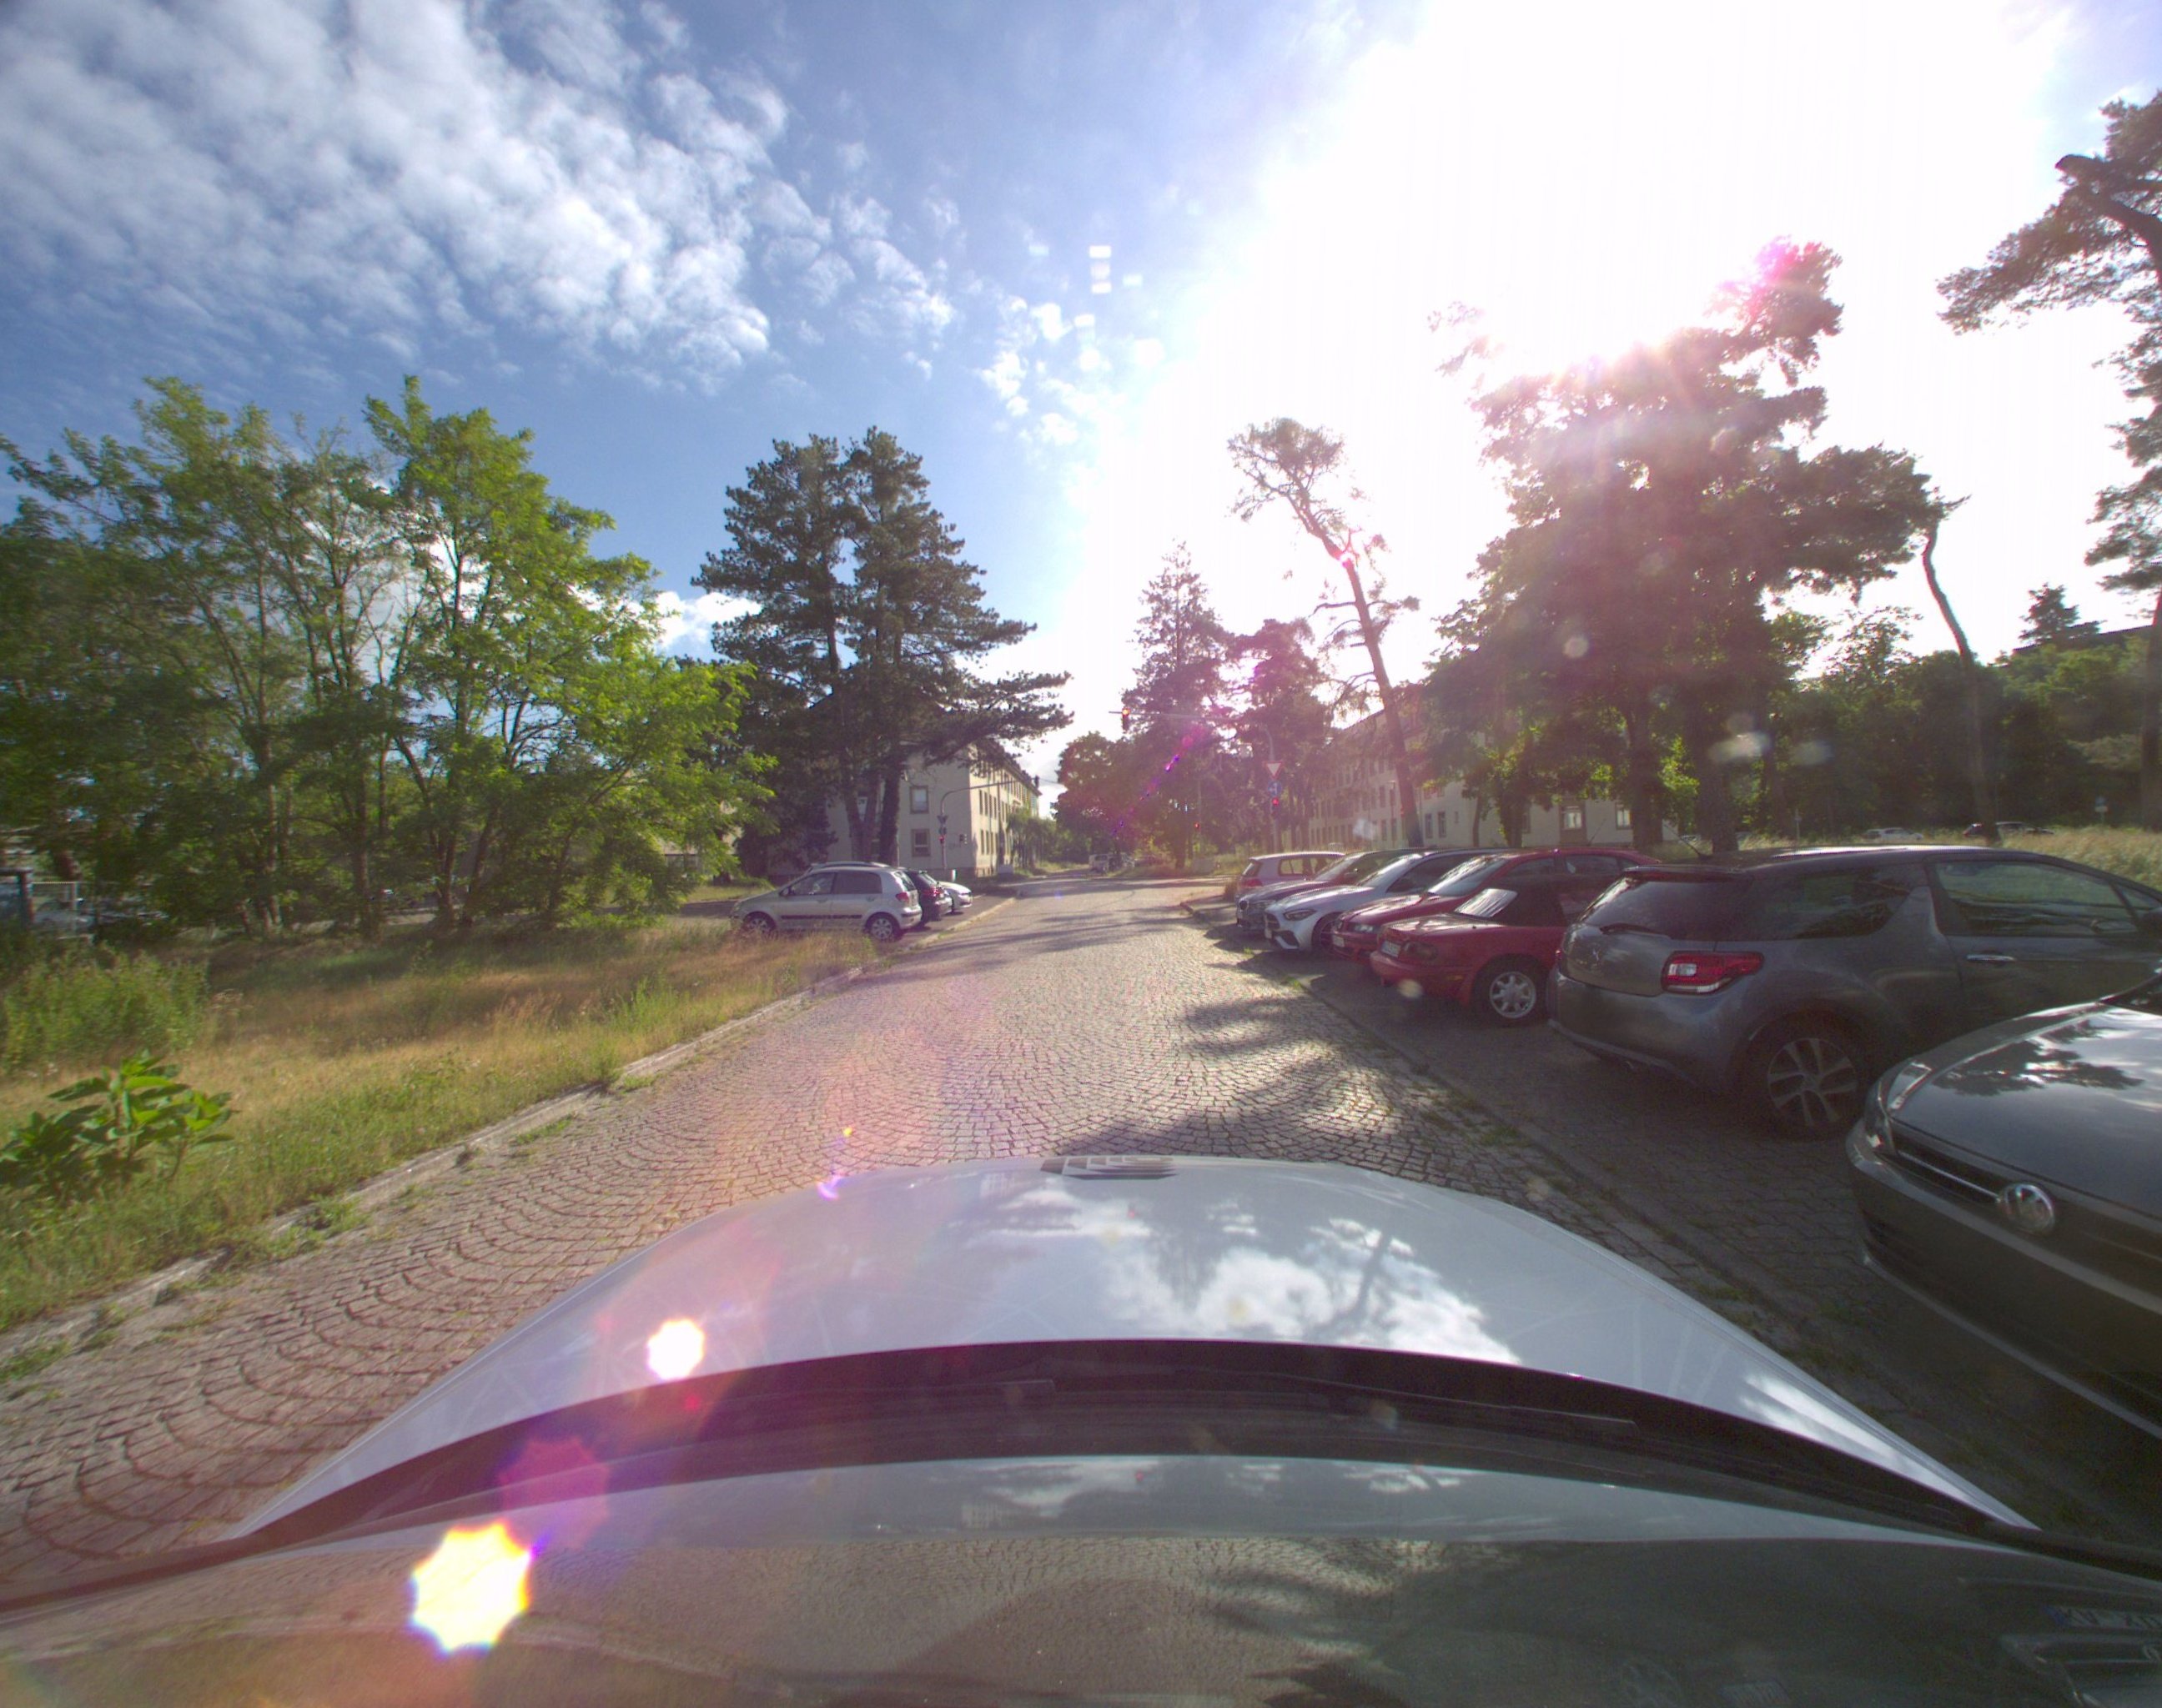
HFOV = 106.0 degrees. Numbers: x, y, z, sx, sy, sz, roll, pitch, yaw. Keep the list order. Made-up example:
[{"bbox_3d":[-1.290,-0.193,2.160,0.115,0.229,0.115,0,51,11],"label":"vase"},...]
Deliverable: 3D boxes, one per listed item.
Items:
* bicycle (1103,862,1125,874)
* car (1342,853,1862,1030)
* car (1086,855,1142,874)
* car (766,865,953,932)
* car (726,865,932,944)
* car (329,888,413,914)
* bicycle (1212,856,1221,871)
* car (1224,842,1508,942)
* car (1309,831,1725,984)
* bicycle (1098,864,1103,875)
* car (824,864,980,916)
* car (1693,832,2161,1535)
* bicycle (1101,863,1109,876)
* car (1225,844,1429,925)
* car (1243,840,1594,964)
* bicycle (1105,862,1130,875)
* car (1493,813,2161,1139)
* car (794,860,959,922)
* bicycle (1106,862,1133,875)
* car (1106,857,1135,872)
[{"bbox_3d":[2.848,1.232,69.999,1.835,1.010,0.634,0,-1,-6],"label":"bicycle"},{"bbox_3d":[4.575,0.726,7.614,3.693,1.223,1.747,-4,0,2],"label":"car"},{"bbox_3d":[3.424,1.085,84.586,5.534,2.014,1.989,0,-1,-17],"label":"car"},{"bbox_3d":[-5.189,1.015,19.481,3.976,1.480,1.802,0,0,-2],"label":"car"},{"bbox_3d":[-5.083,0.999,16.806,3.736,1.487,1.645,0,0,-2],"label":"car"},{"bbox_3d":[-46.825,3.068,53.790,1.895,1.433,4.002,-2,-1,2],"label":"car"},{"bbox_3d":[9.010,0.621,54.301,0.300,0.961,1.585,0,-1,-2],"label":"bicycle"},{"bbox_3d":[5.021,0.648,14.808,4.542,1.415,1.637,-4,0,2],"label":"car"},{"bbox_3d":[5.077,0.597,9.903,4.112,1.449,1.637,-4,0,2],"label":"car"},{"bbox_3d":[1.816,1.414,76.207,0.415,1.010,1.484,0,-1,2],"label":"bicycle"},{"bbox_3d":[-5.358,1.071,24.799,4.321,1.468,1.829,0,0,-2],"label":"car"},{"bbox_3d":[4.168,0.636,2.108,3.693,1.449,1.857,-4,0,2],"label":"car"},{"bbox_3d":[1.850,1.221,62.970,0.466,1.010,1.585,0,-1,-2],"label":"bicycle"},{"bbox_3d":[5.202,0.628,17.586,3.867,1.415,1.637,-4,0,2],"label":"car"},{"bbox_3d":[4.807,0.658,12.095,4.415,1.415,1.782,-4,0,2],"label":"car"},{"bbox_3d":[3.045,1.206,68.239,2.002,1.010,0.630,0,-1,-6],"label":"bicycle"},{"bbox_3d":[4.864,0.592,5.006,3.694,1.449,1.817,-4,0,1],"label":"car"},{"bbox_3d":[-5.529,0.982,22.451,4.069,1.593,1.884,0,0,-2],"label":"car"},{"bbox_3d":[3.152,1.182,66.586,2.106,1.010,0.619,0,-1,-6],"label":"bicycle"},{"bbox_3d":[3.925,1.039,80.992,2.775,1.467,1.669,0,-1,-3],"label":"car"}]
